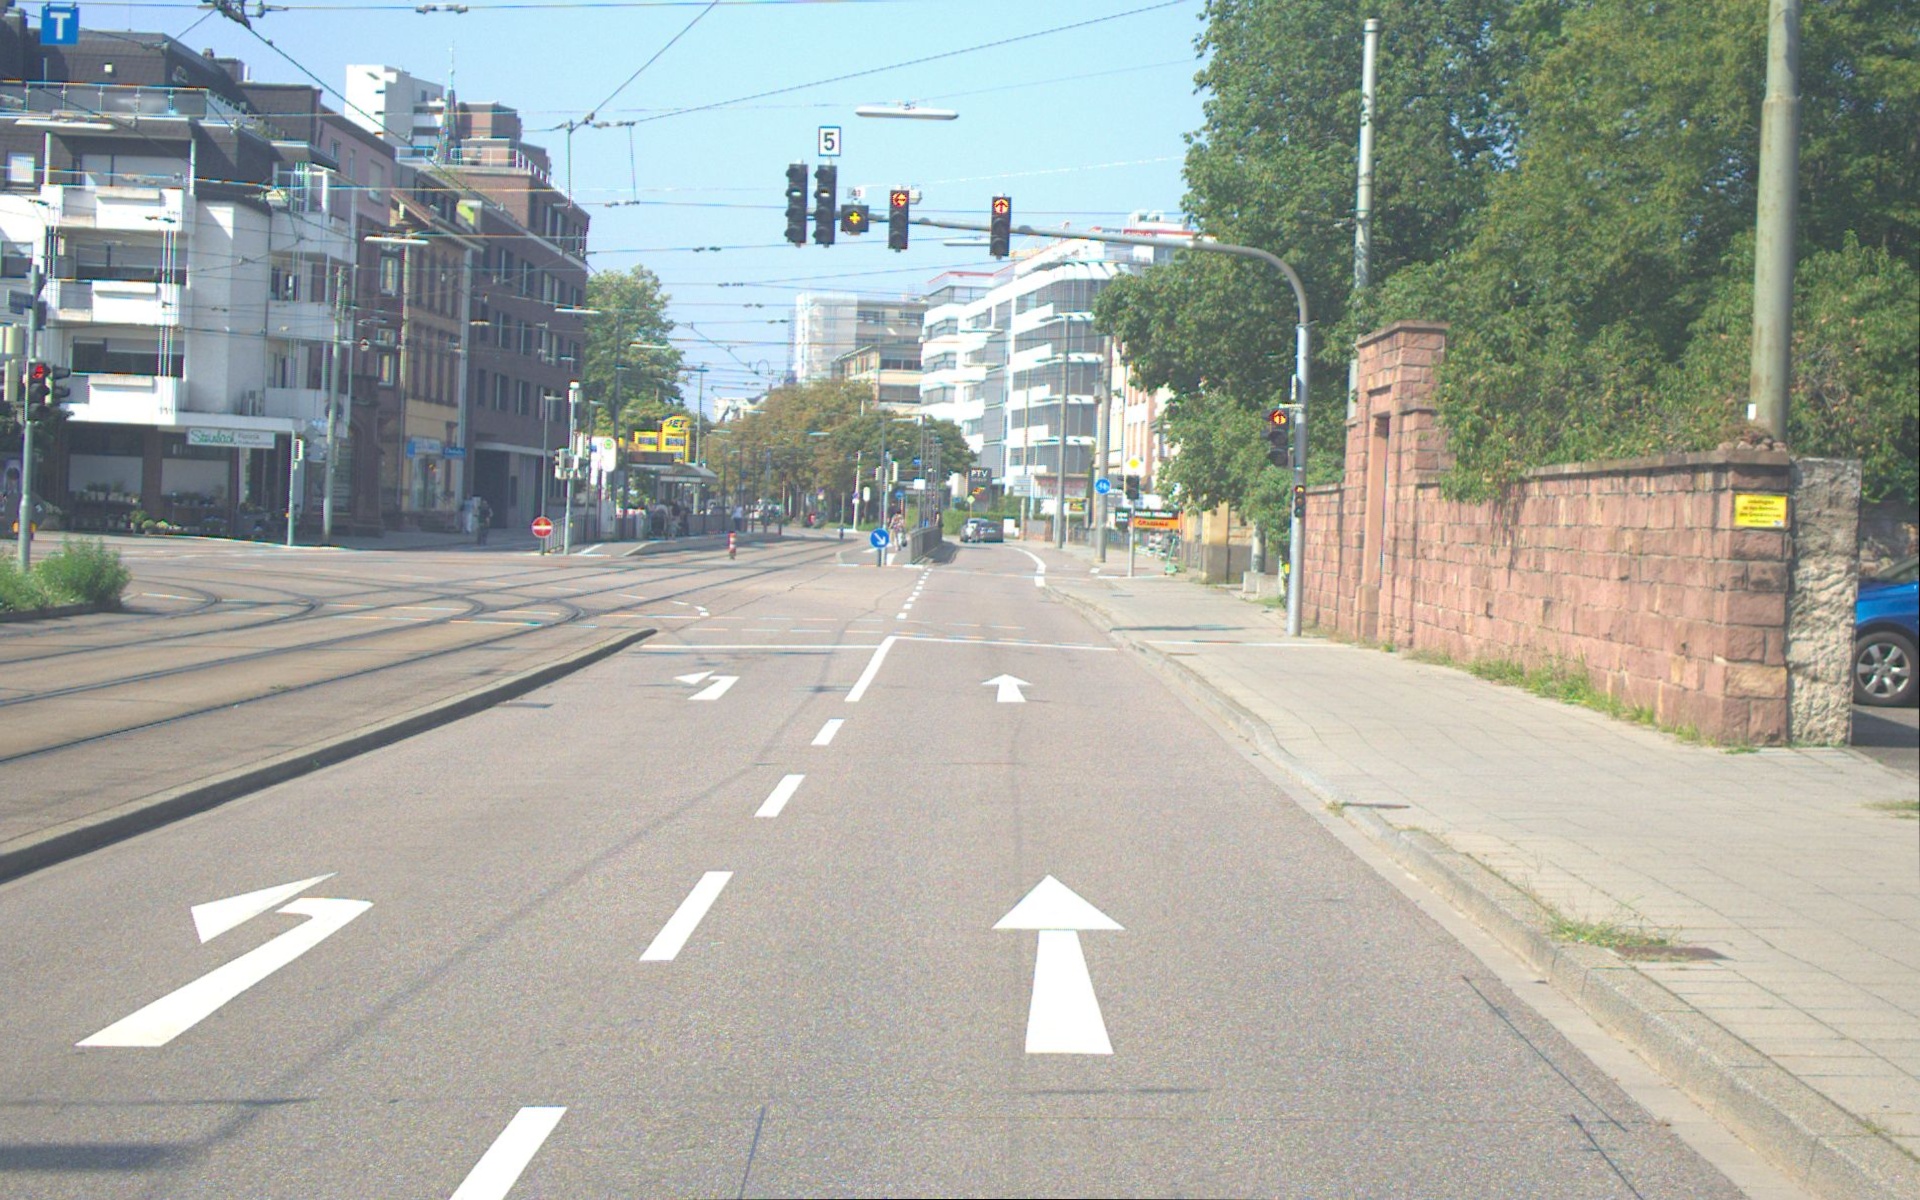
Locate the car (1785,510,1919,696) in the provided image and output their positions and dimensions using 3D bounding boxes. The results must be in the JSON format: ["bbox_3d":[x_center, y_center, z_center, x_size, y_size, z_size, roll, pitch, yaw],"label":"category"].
[{"bbox_3d":[9.142,0.086,28.780,3.967,1.459,1.778,3,2,0],"label":"car"}]

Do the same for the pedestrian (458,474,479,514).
[{"bbox_3d":[-20.147,-4.340,140.878,0.483,1.554,0.886,4,0,12],"label":"pedestrian"}]

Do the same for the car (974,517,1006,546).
[{"bbox_3d":[1.984,-4.492,224.285,2.011,1.852,4.000,1,1,2],"label":"car"}]

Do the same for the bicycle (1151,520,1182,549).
[{"bbox_3d":[8.092,-2.567,134.761,0.731,1.129,2.840,-1,2,-7],"label":"bicycle"}]
